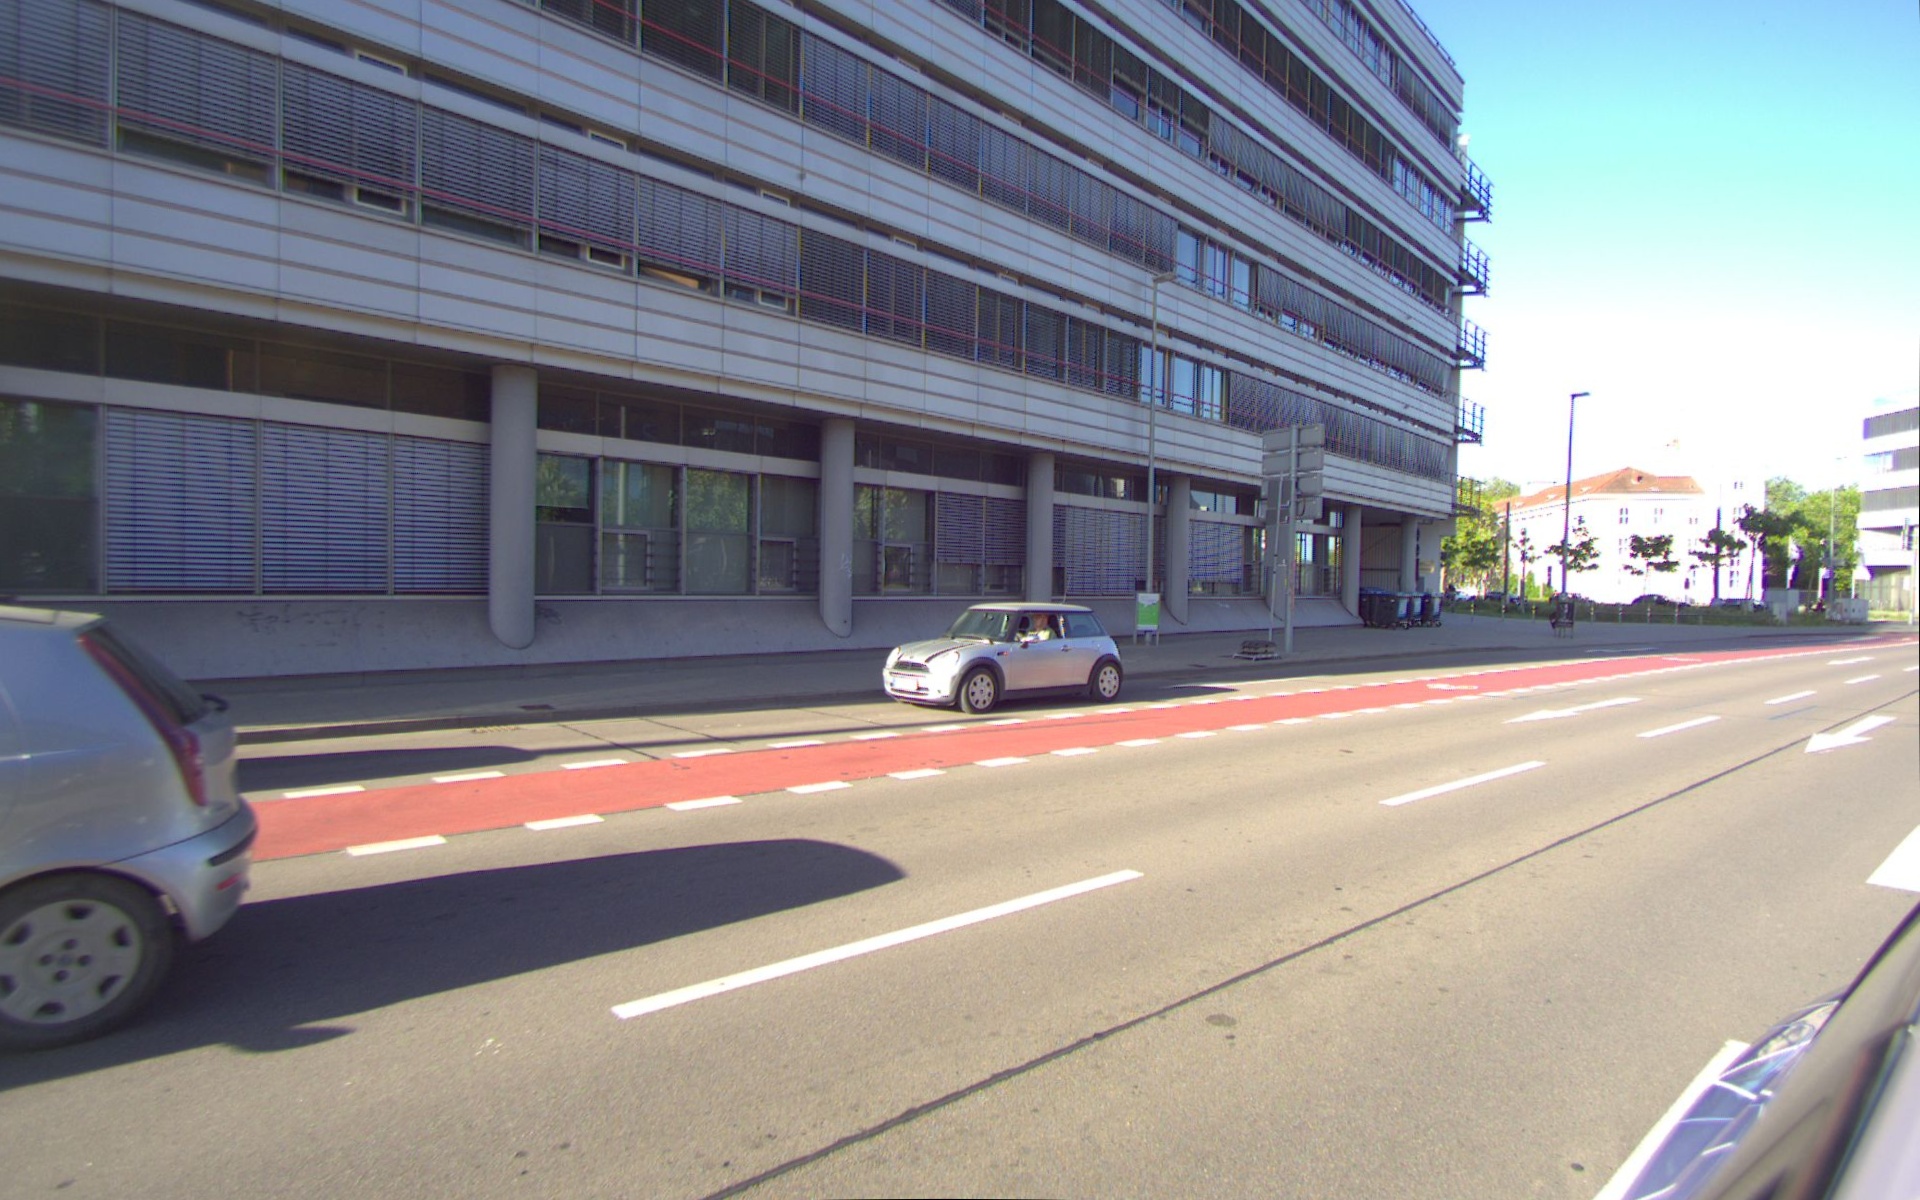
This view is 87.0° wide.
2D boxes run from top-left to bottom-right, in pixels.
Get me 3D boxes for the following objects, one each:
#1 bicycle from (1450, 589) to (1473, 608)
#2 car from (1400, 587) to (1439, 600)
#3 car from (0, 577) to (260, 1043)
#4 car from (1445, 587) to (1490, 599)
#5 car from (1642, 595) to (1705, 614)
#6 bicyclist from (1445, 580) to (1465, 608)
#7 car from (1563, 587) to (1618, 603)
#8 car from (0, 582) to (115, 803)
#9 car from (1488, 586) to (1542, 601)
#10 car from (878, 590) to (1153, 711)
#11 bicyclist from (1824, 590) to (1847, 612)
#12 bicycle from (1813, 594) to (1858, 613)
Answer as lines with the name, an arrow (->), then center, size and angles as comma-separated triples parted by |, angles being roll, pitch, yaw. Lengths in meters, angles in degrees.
bicycle -> 30.118, -0.078, 60.768 | 1.672, 1.070, 0.505 | -1, 4, -40
car -> 52.277, -0.733, 115.161 | 1.894, 1.393, 4.009 | 0, 1, -17
car -> -4.397, 0.656, 2.995 | 3.701, 1.447, 1.619 | 0, 1, -41
car -> 54.362, -0.770, 108.495 | 1.958, 1.259, 4.009 | 0, 1, -19
car -> 61.911, 0.371, 87.845 | 1.958, 1.439, 4.009 | 0, 1, -21
bicyclist -> 29.839, -0.380, 60.981 | 0.973, 1.638, 0.685 | 0, 1, -39
car -> 59.081, -0.463, 94.872 | 1.958, 1.439, 4.009 | 0, 1, -21
car -> -7.952, 0.610, 6.457 | 3.930, 1.464, 1.735 | 0, 1, -41
car -> 56.422, -0.663, 102.981 | 1.958, 1.439, 4.536 | 0, 1, -22
car -> 0.875, 0.602, 14.133 | 3.929, 1.464, 1.438 | 0, 1, -40
bicyclist -> 64.895, 0.052, 75.039 | 0.862, 1.627, 1.009 | 0, 1, -27
bicycle -> 64.887, 0.213, 75.020 | 0.932, 1.328, 2.376 | 0, 1, -27
